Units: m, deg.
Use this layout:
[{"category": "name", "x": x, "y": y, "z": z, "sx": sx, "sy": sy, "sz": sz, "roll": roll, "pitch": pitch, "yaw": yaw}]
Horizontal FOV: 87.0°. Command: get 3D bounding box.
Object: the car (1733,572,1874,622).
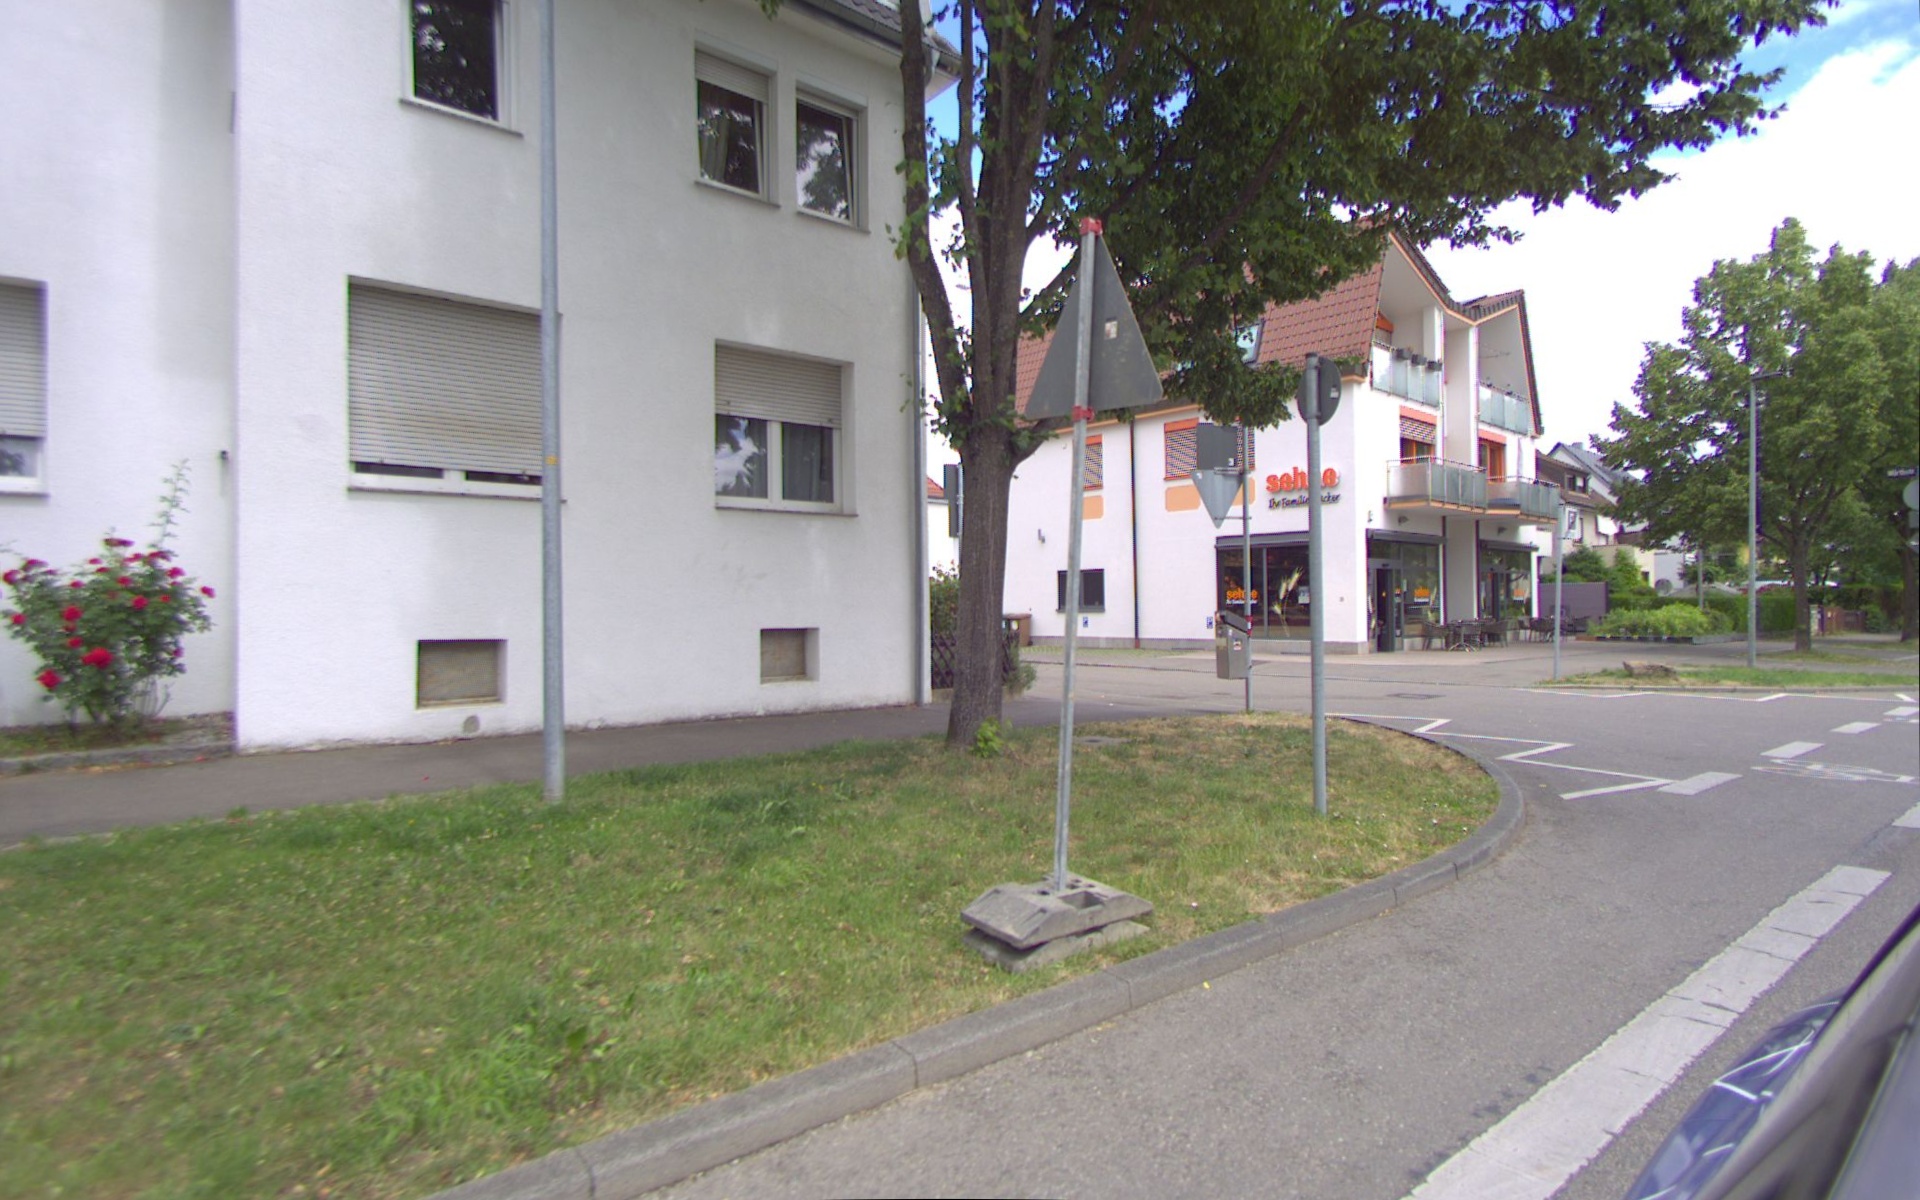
[{"category": "car", "x": 45.782, "y": -0.143, "z": 55.057, "sx": 1.963, "sy": 2.625, "sz": 5.720, "roll": 1, "pitch": -1, "yaw": -42}]
